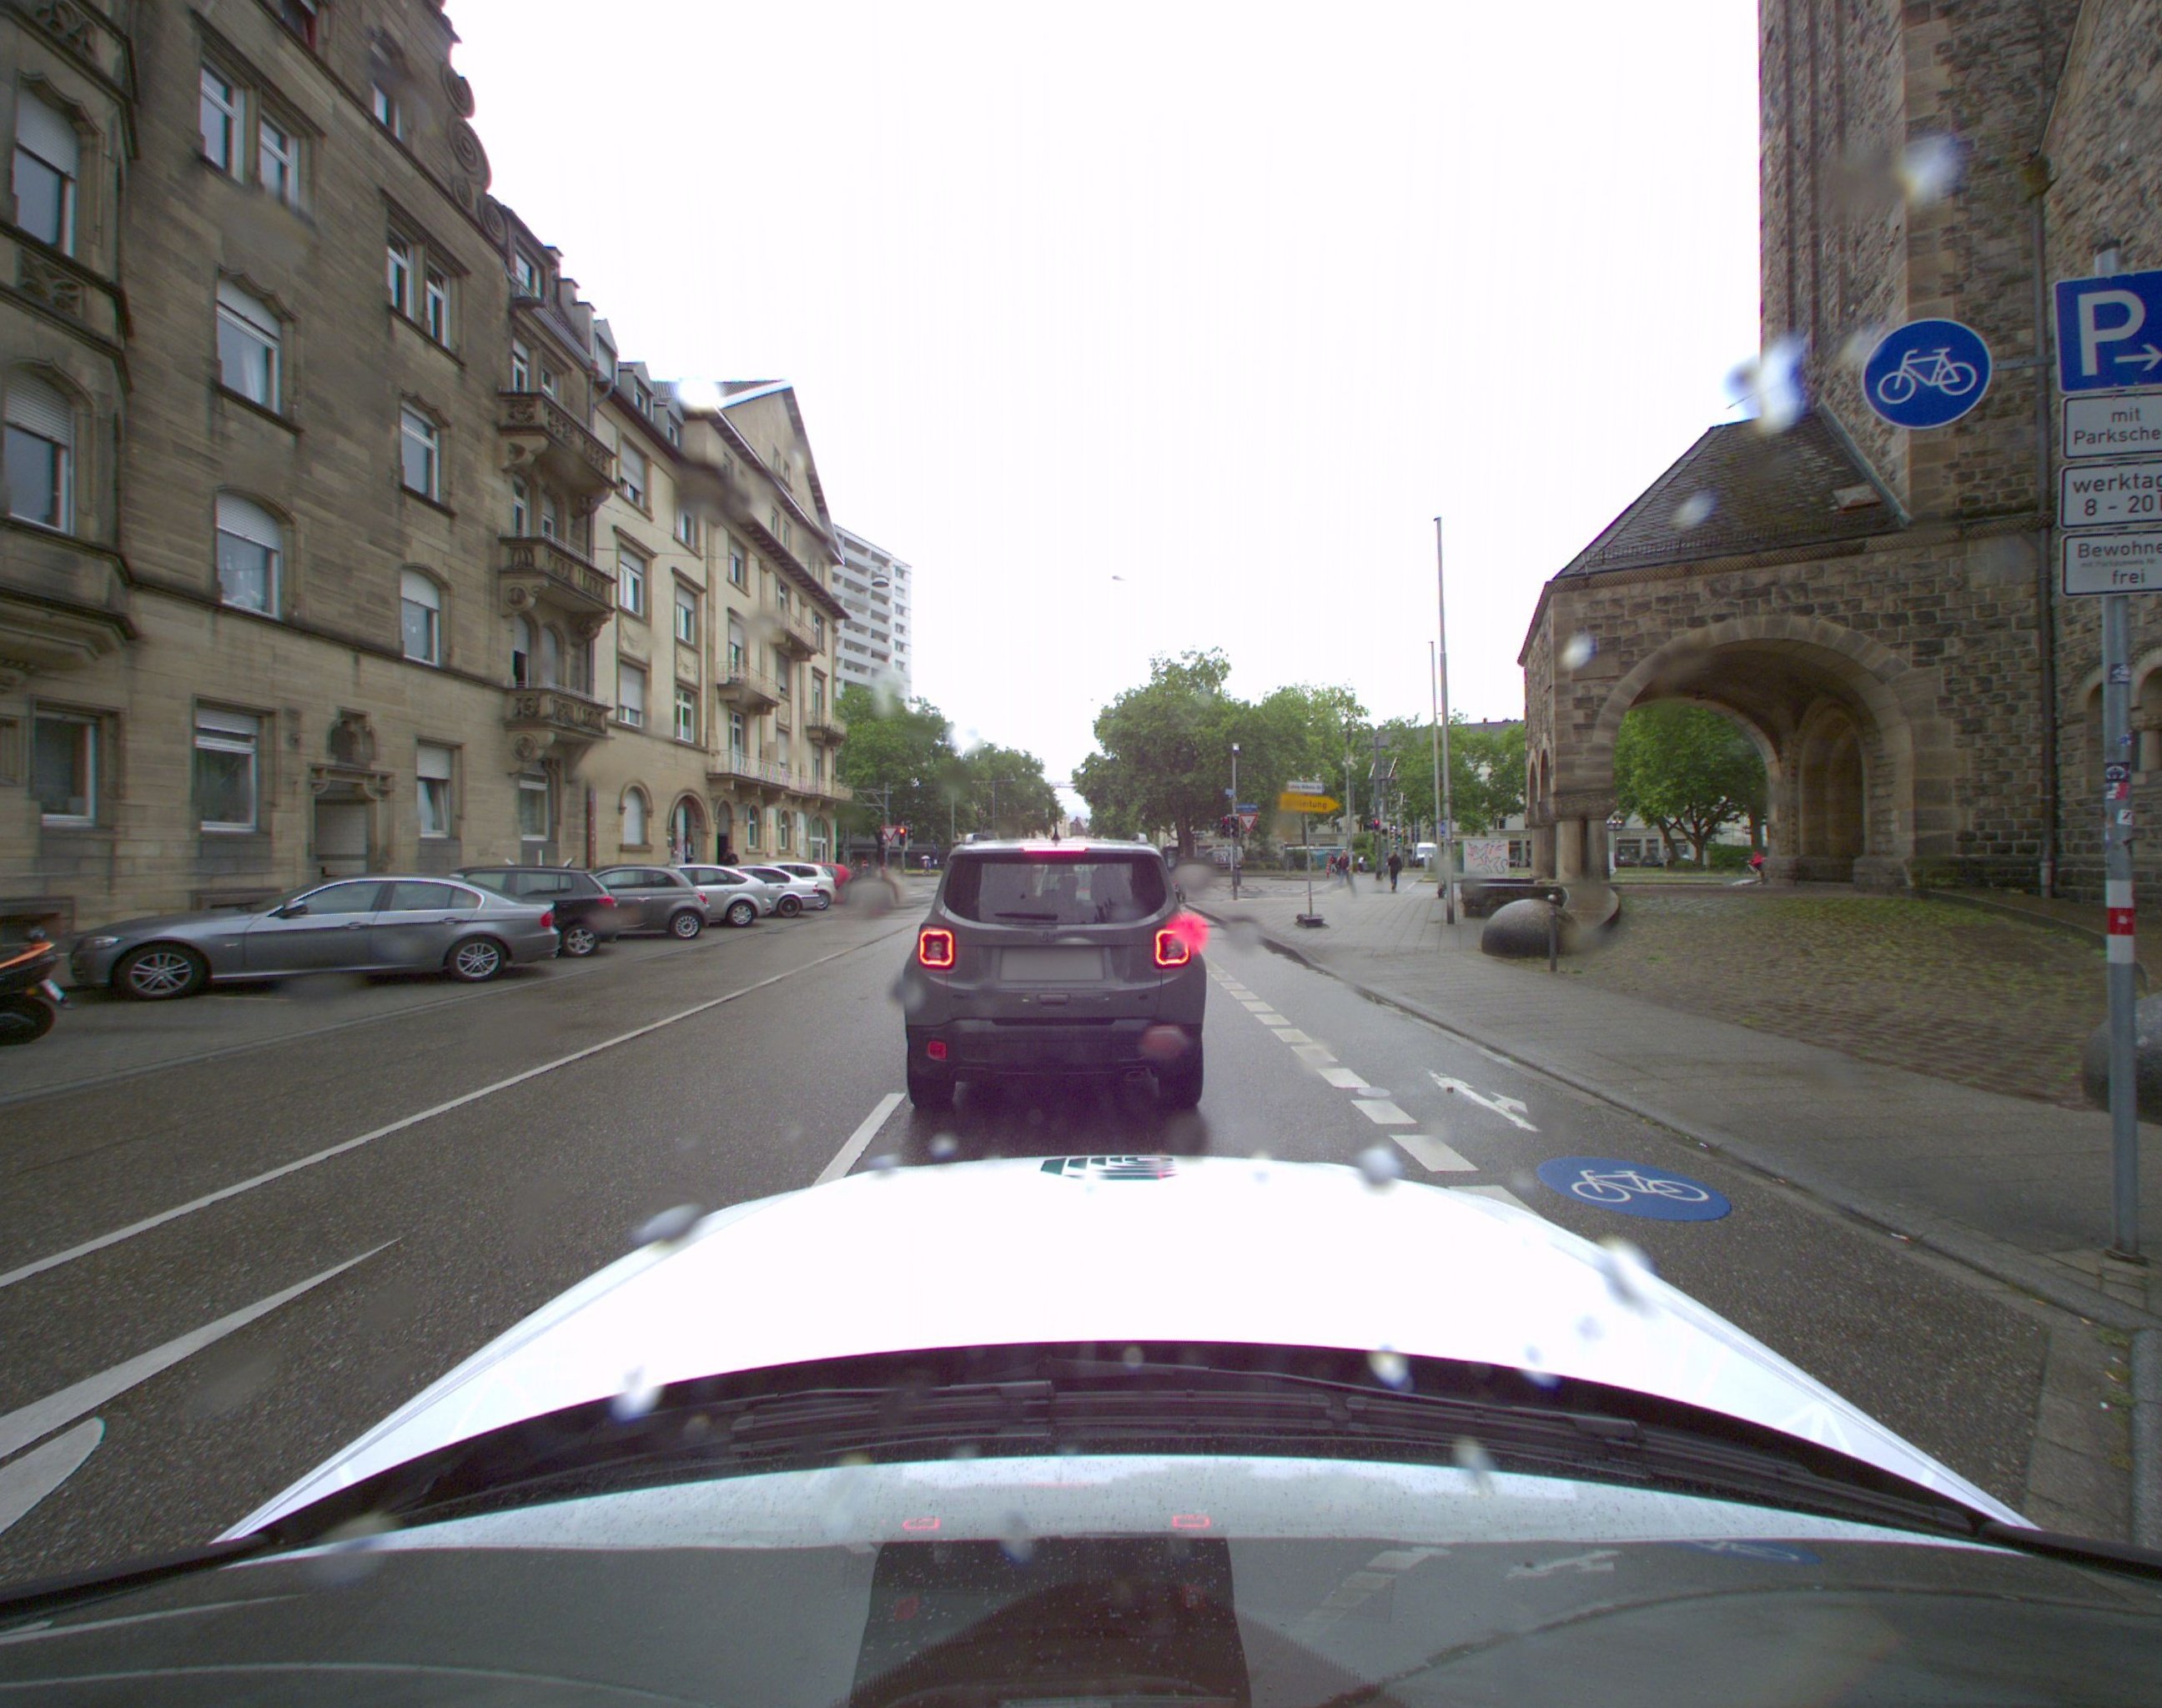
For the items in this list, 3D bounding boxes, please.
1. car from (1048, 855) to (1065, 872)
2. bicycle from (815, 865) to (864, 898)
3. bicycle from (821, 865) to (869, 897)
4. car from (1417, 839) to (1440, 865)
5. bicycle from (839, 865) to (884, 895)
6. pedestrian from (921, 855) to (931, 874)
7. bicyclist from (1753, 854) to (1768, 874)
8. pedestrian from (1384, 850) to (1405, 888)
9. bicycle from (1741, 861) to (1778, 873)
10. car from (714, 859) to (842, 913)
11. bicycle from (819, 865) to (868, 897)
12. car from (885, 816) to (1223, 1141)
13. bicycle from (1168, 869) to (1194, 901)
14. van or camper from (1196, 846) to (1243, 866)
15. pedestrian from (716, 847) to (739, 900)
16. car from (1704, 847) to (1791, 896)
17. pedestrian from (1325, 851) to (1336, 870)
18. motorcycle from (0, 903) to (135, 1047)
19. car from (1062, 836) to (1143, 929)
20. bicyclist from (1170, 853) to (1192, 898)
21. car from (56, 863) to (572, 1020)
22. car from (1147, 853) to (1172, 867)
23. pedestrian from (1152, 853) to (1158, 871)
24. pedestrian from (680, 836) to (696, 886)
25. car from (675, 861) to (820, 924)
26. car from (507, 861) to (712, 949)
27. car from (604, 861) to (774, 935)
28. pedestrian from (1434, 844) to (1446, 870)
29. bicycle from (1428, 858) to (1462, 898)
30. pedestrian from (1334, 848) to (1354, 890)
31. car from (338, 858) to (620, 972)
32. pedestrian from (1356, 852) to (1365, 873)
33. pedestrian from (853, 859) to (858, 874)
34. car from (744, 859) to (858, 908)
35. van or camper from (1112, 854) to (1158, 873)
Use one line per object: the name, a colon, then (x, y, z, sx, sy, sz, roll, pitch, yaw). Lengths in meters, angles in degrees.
car: (-2.597, 0.979, 84.614, 1.717, 1.739, 3.726, -1, 0, -2)
bicycle: (-9.594, 1.097, 32.338, 1.758, 1.266, 0.522, -1, -1, -1)
bicycle: (-9.708, 1.104, 33.571, 1.804, 1.266, 0.498, -1, -1, -1)
car: (35.506, -0.168, 83.206, 1.889, 2.555, 4.815, -1, 0, 25)
bicycle: (-9.568, 1.137, 35.477, 1.758, 1.266, 0.608, -1, -1, -1)
pedestrian: (-14.772, 1.000, 77.549, 0.614, 1.826, 0.697, -2, -1, 15)
bicyclist: (43.372, 0.635, 51.979, 0.518, 1.250, 0.656, -1, -1, 23)
pedestrian: (13.895, 0.643, 36.046, 0.775, 1.645, 0.659, -2, -1, 25)
bicycle: (43.319, 0.832, 52.021, 1.683, 0.719, 0.656, -1, 0, 22)
car: (-9.510, 0.959, 25.633, 3.419, 1.558, 1.686, -1, 0, -38)
bicycle: (-9.597, 1.091, 32.885, 1.804, 1.266, 0.498, -1, -1, -1)
car: (-0.119, 0.672, 6.298, 1.769, 1.687, 3.848, -2, 0, 1)
bicycle: (3.678, 1.114, 29.781, 0.687, 1.021, 2.667, -2, 0, 12)
van or camper: (16.016, 0.203, 94.615, 5.234, 2.315, 2.093, 0, 0, 5)
pedestrian: (-13.458, 0.740, 31.039, 0.565, 2.014, 0.655, -1, -1, 1)
car: (21.420, 0.531, 26.271, 1.389, 1.479, 3.239, -1, 0, 25)
pedestrian: (20.698, 0.556, 67.500, 0.667, 1.554, 0.766, -1, -2, 29)
motorcycle: (-9.408, 1.007, 6.769, 1.880, 1.162, 0.627, 2, -2, -36)
car: (0.521, 0.630, 19.930, 1.764, 2.013, 4.001, -1, 0, 1)
bicyclist: (3.688, 0.772, 29.886, 0.682, 1.617, 0.887, -2, 0, 12)
car: (-9.411, 0.929, 10.544, 4.573, 1.545, 1.668, -1, 0, -42)
car: (11.465, 0.898, 119.271, 3.411, 2.014, 1.554, -2, -1, 15)
pedestrian: (8.413, 0.913, 92.589, 0.646, 2.014, 0.484, -1, -1, 14)
pedestrian: (-14.456, 0.269, 29.955, 0.365, 1.823, 0.347, -2, -1, -1)
car: (-9.285, 1.016, 22.768, 3.419, 1.558, 1.686, -1, 0, -38)
car: (-9.538, 0.956, 16.558, 3.419, 1.558, 1.634, -1, 0, -38)
car: (-9.390, 0.982, 19.585, 3.419, 1.558, 1.686, -1, 0, -38)
pedestrian: (28.377, 0.224, 64.416, 0.798, 2.014, 0.593, -1, -1, 28)
bicycle: (11.004, 0.712, 24.655, 0.327, 1.154, 2.079, -1, 0, 7)
pedestrian: (11.269, 0.655, 34.918, 0.780, 1.759, 0.949, -2, -1, 16)
car: (-9.780, 0.899, 13.474, 3.571, 1.598, 1.587, -1, 0, -38)
pedestrian: (22.560, 0.686, 65.790, 0.607, 1.603, 0.497, -1, -1, 26)
pedestrian: (-23.999, 1.320, 86.575, 0.441, 1.530, 0.642, -1, -1, -7)
car: (-9.768, 0.998, 28.508, 3.419, 1.558, 1.686, -1, 0, -38)
van or camper: (8.206, 1.460, 124.763, 6.466, 2.912, 2.509, -1, 0, 26)
